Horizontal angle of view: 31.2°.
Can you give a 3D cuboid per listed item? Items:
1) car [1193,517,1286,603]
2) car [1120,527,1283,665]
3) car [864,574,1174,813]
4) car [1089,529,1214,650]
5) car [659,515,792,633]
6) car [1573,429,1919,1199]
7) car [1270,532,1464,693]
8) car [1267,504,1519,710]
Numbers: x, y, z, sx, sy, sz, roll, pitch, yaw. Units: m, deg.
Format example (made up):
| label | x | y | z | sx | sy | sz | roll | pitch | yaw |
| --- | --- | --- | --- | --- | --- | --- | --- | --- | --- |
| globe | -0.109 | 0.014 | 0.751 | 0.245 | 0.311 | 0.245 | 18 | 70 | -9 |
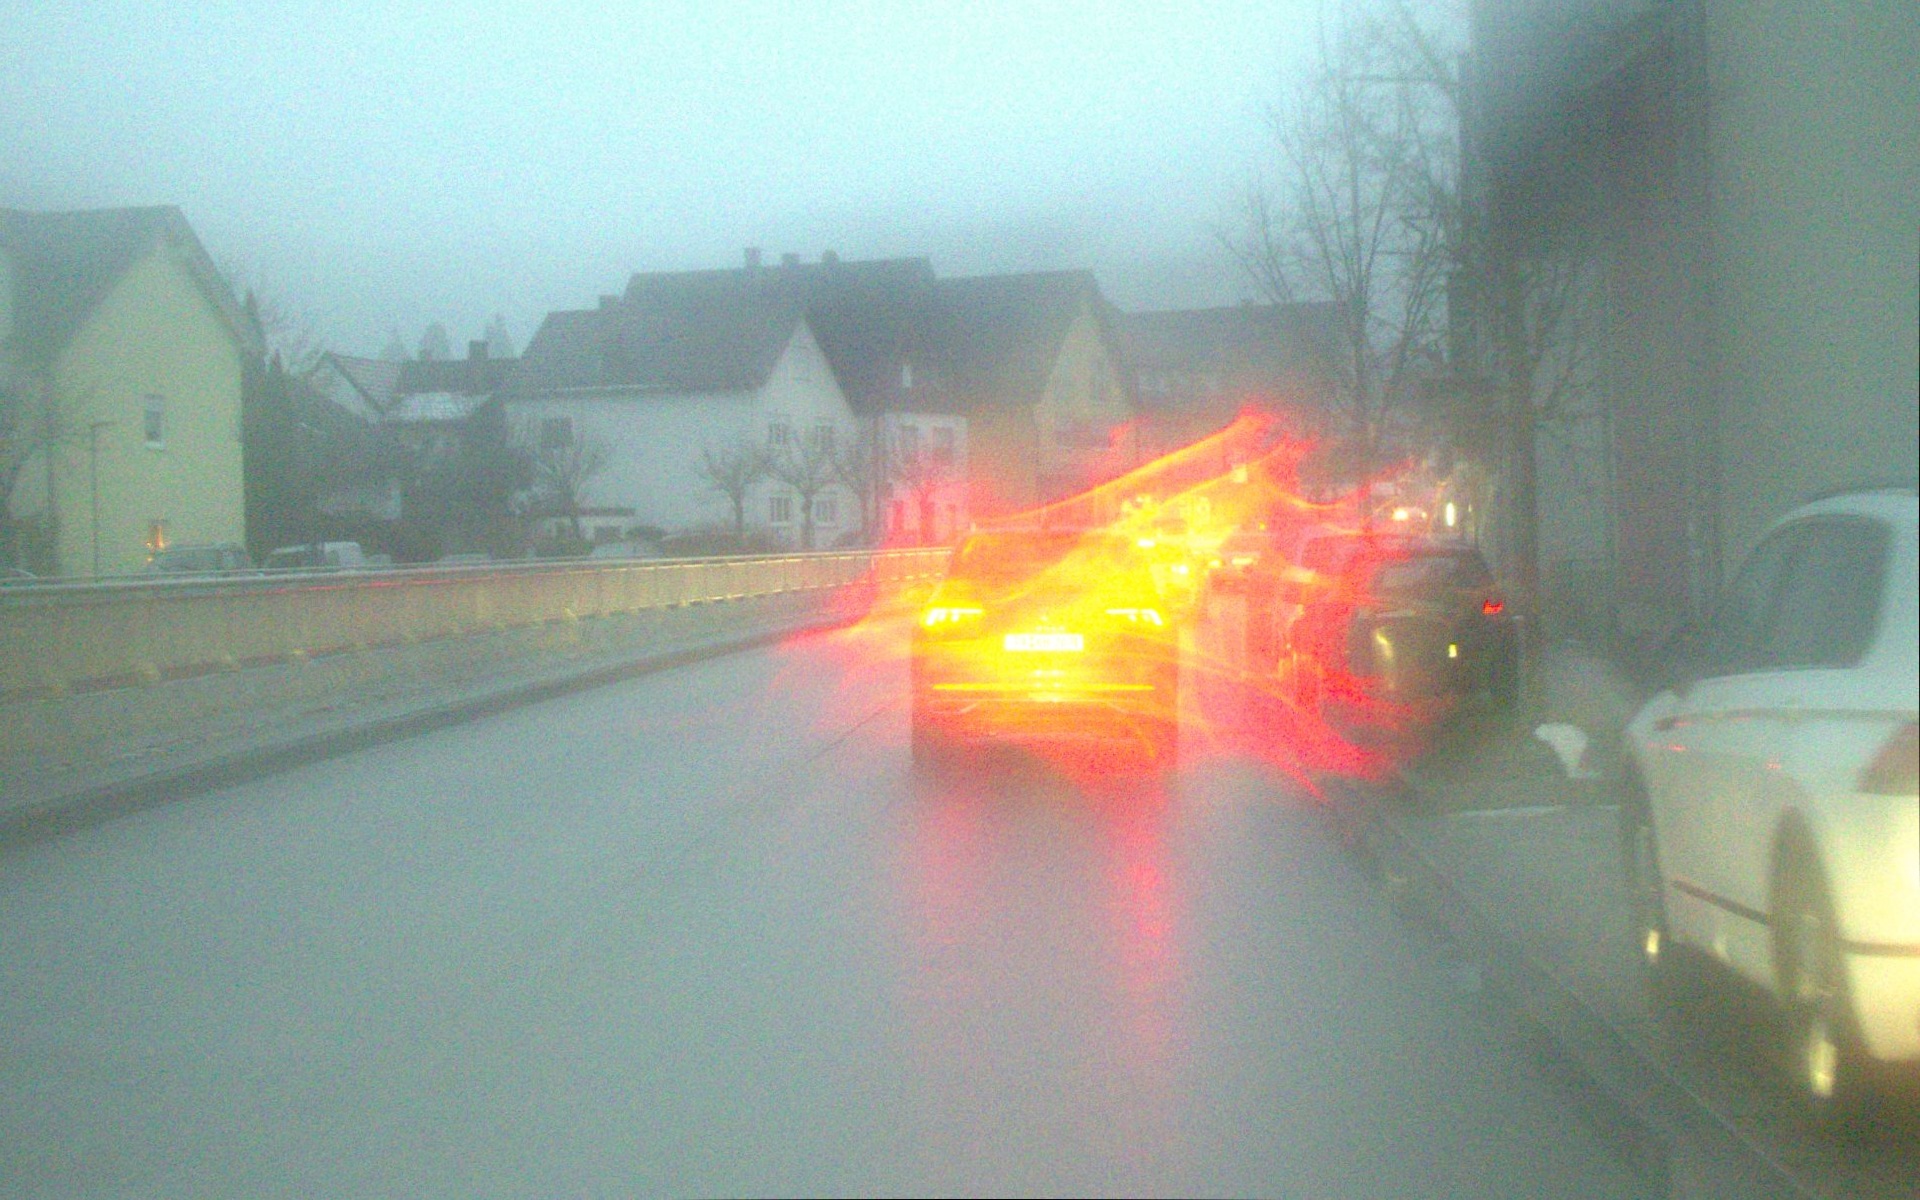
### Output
| label | x | y | z | sx | sy | sz | roll | pitch | yaw |
| --- | --- | --- | --- | --- | --- | --- | --- | --- | --- |
| car | 6.761 | -0.946 | 82.868 | 1.994 | 2.007 | 3.999 | 0 | 0 | 8 |
| car | 3.123 | -0.086 | 44.463 | 1.994 | 1.674 | 4.000 | 1 | 1 | 4 |
| car | 0.472 | 0.593 | 24.301 | 1.994 | 1.520 | 4.000 | -1 | 1 | 3 |
| car | 3.352 | -0.174 | 59.519 | 1.994 | 2.007 | 3.999 | 0 | 0 | 6 |
| car | -4.133 | -0.446 | 61.108 | 1.993 | 2.007 | 4.000 | 0 | 0 | 1 |
| car | 2.948 | 0.418 | 9.684 | 1.745 | 1.779 | 4.336 | -3 | 1 | 2 |
| car | 4.519 | 0.102 | 37.783 | 1.994 | 1.664 | 3.999 | -1 | 1 | 8 |
| car | 3.834 | 0.009 | 29.907 | 1.994 | 1.664 | 3.999 | 0 | 1 | 10 |
